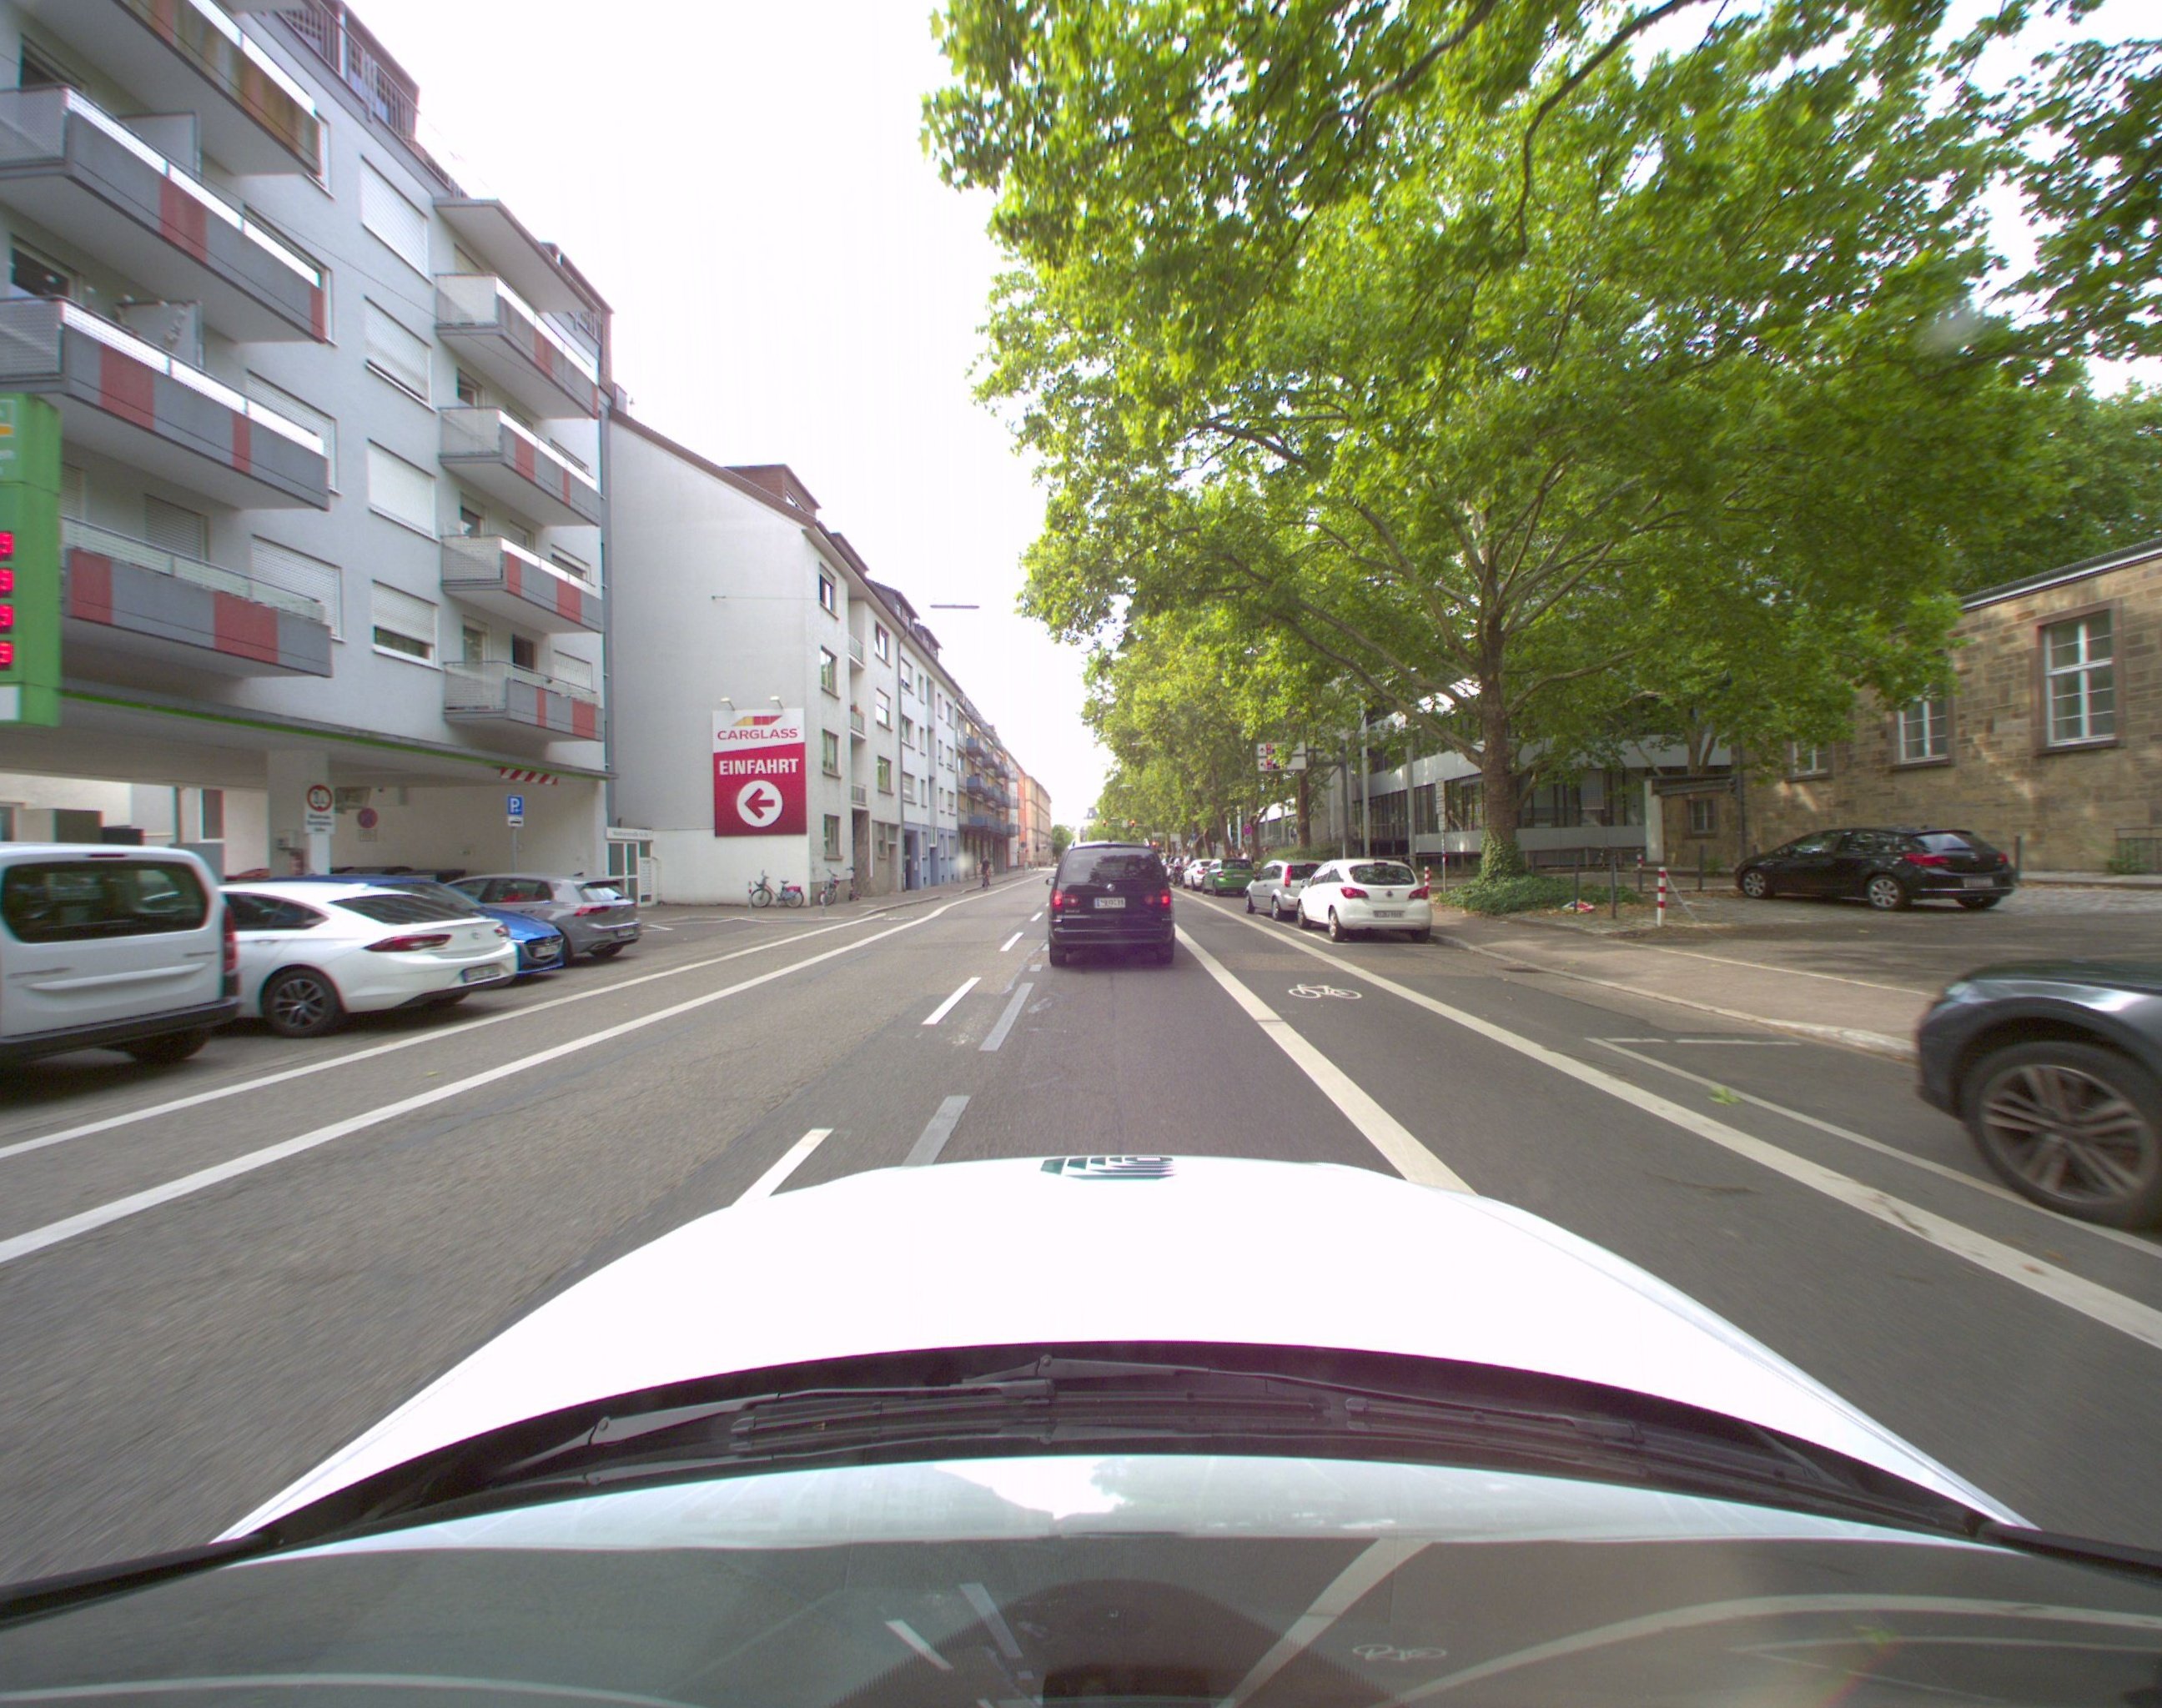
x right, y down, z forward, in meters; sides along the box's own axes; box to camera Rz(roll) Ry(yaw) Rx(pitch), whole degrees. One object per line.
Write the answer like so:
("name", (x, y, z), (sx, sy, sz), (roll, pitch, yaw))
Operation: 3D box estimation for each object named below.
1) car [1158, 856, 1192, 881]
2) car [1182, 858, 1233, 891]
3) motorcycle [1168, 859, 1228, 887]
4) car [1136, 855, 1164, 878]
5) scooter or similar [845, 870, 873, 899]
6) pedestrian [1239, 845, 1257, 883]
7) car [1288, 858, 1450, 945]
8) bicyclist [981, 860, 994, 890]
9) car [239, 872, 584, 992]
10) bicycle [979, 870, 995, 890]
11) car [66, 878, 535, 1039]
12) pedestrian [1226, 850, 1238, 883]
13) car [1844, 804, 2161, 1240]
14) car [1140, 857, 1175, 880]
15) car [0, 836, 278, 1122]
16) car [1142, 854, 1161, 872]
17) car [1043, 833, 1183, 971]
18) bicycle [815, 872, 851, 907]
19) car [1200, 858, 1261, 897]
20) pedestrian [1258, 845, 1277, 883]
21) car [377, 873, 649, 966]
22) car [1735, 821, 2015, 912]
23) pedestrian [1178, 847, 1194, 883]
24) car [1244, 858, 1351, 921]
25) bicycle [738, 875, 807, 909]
("car", (5.895, 0.891, 51.543), (1.637, 1.487, 3.510), (0, 0, -2))
("car", (5.603, 0.894, 36.480), (1.637, 1.395, 3.510), (0, 0, -2))
("motorcycle", (5.787, 0.936, 40.324), (2.827, 1.325, 0.765), (-1, 0, 1))
("car", (5.158, 0.914, 61.365), (1.738, 1.689, 3.802), (-1, 0, -1))
("scooter or similar", (-8.168, 1.139, 30.042), (0.630, 1.034, 2.011), (0, -2, -4))
("pedestrian", (8.202, 0.507, 39.970), (0.764, 1.831, 0.516), (-1, 0, 2))
("car", (5.314, 0.800, 15.666), (1.669, 1.394, 4.463), (0, 0, 2))
("bicyclist", (-5.060, 1.129, 44.005), (0.651, 1.611, 0.655), (0, -3, -1))
("car", (-8.968, 1.010, 11.127), (3.333, 1.497, 1.596), (0, -1, -1))
("bicycle", (-5.075, 1.419, 44.030), (0.629, 1.034, 2.014), (0, -3, -1))
("car", (-7.987, 1.023, 8.585), (3.333, 1.497, 1.596), (0, -1, -1))
("pedestrian", (7.791, 0.634, 41.913), (0.508, 1.680, 0.516), (-1, 0, 2))
("car", (4.914, 0.644, 2.106), (1.663, 1.640, 4.502), (1, 0, 0))
("car", (5.257, 0.961, 56.620), (1.864, 1.508, 3.996), (-1, 0, -3))
("car", (-9.198, 0.799, 6.188), (4.294, 1.870, 1.824), (1, 0, -1))
("car", (7.362, 0.953, 85.149), (1.781, 1.772, 4.002), (-1, 0, 2))
("car", (0.373, 0.632, 12.480), (1.807, 1.766, 3.735), (-1, 0, -2))
("bicycle", (-8.227, 1.147, 27.104), (0.629, 1.034, 2.014), (0, 1, -2))
("car", (5.777, 0.871, 31.763), (1.637, 1.413, 3.413), (0, 0, -2))
("pedestrian", (9.260, 0.495, 40.452), (0.764, 1.831, 0.516), (-1, 0, 2))
("car", (-9.133, 1.031, 13.286), (3.333, 1.402, 1.503), (0, -1, -1))
("car", (14.695, 0.159, 15.404), (1.467, 1.458, 3.916), (-2, 1, -1))
("pedestrian", (5.382, 0.558, 41.786), (0.764, 1.831, 0.516), (-1, 0, 2))
("car", (5.261, 0.823, 20.211), (1.637, 1.413, 3.413), (0, 0, -2))
("bicycle", (-9.708, 1.185, 25.663), (2.000, 1.034, 0.410), (0, 1, 2))
